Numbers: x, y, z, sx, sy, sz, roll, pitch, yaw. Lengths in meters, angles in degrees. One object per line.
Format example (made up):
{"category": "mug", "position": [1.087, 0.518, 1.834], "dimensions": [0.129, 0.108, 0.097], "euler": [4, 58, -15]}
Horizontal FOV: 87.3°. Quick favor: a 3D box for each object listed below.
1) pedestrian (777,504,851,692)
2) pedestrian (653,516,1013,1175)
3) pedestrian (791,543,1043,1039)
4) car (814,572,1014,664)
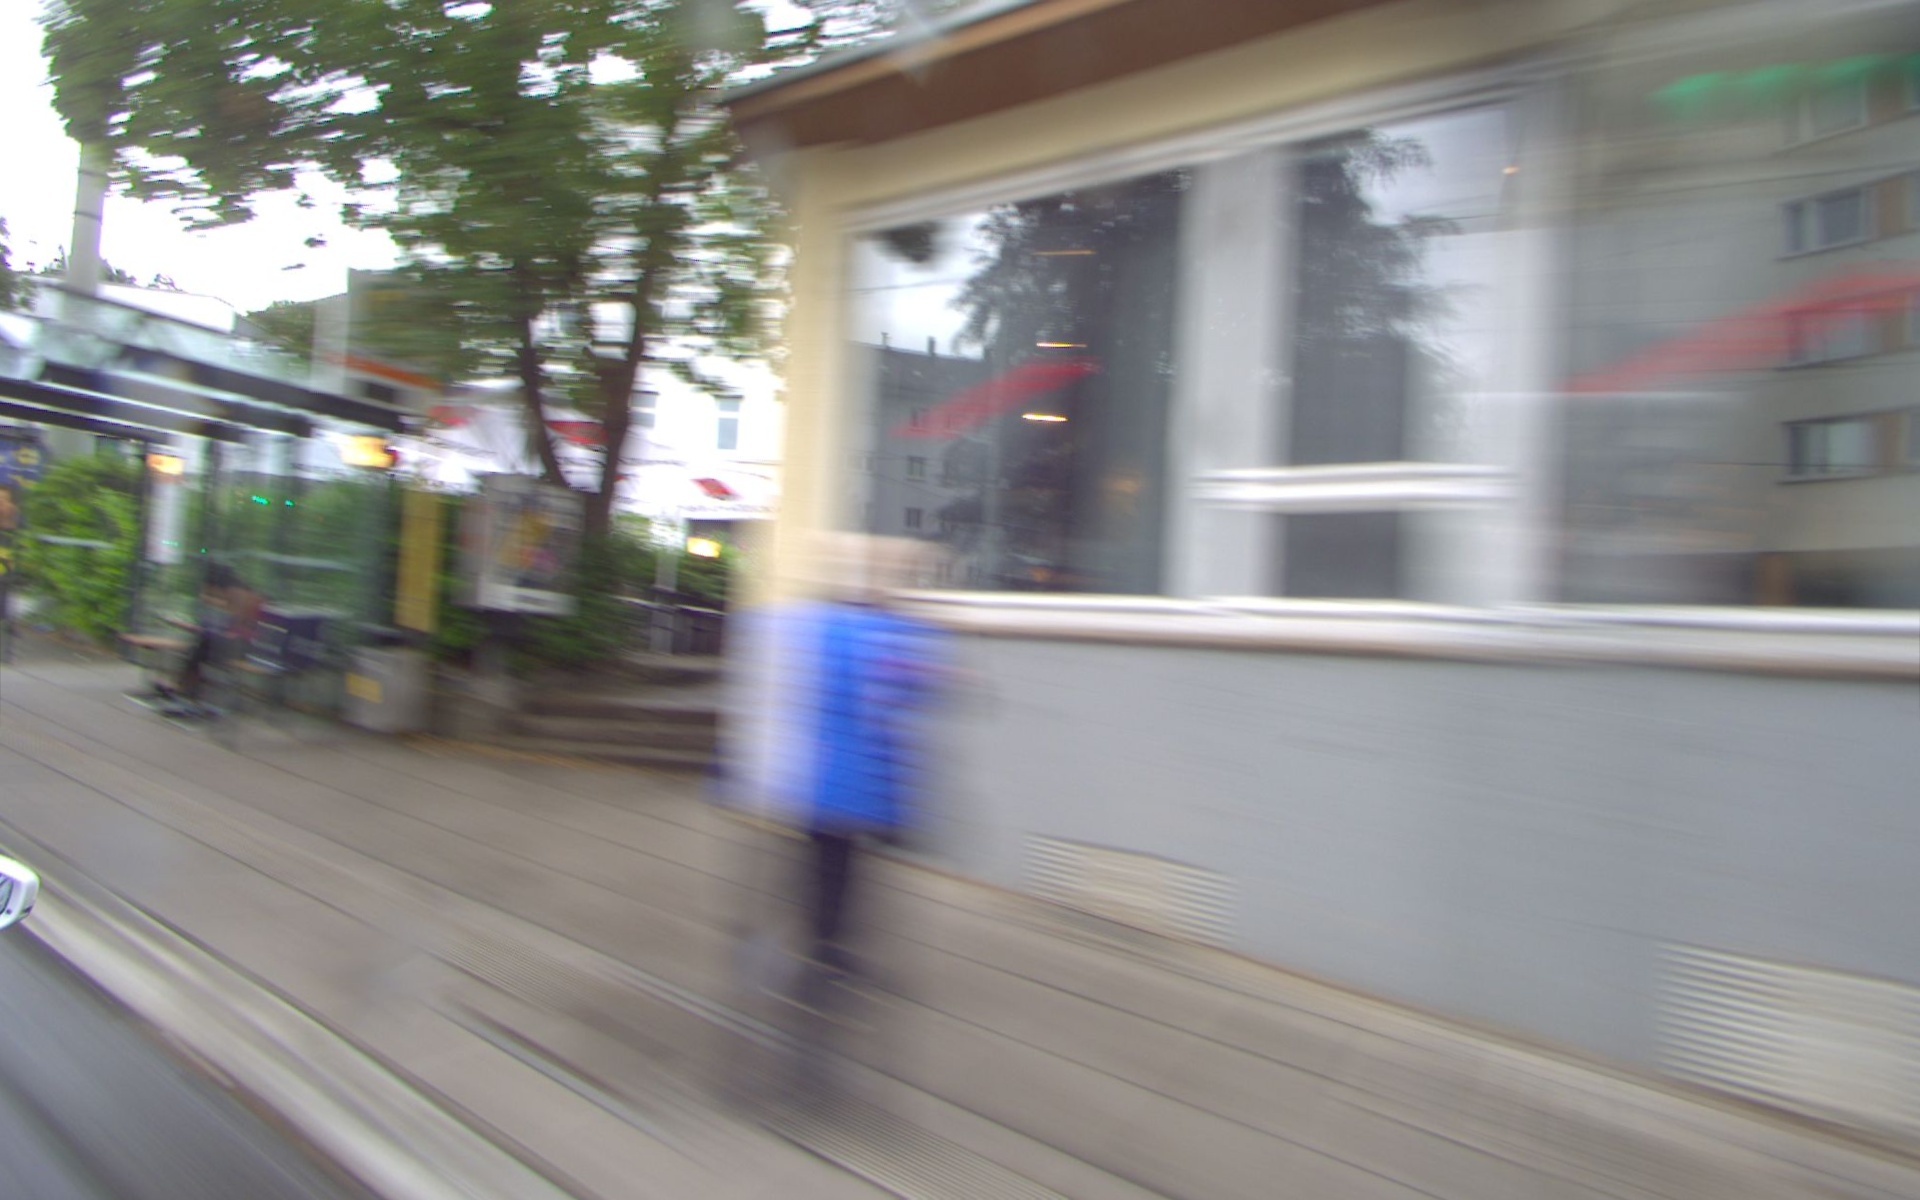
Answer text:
{"category": "pedestrian", "position": [-1.475, -0.016, 10.124], "dimensions": [0.452, 1.802, 0.490], "euler": [8, -1, -16]}
{"category": "pedestrian", "position": [-0.349, 0.600, 2.843], "dimensions": [0.639, 1.574, 0.588], "euler": [7, 2, 31]}
{"category": "pedestrian", "position": [-0.145, 0.624, 3.605], "dimensions": [0.549, 1.574, 0.546], "euler": [7, 2, 29]}
{"category": "car", "position": [-0.938, 0.404, 21.238], "dimensions": [3.927, 1.325, 1.589], "euler": [8, -2, -1]}
